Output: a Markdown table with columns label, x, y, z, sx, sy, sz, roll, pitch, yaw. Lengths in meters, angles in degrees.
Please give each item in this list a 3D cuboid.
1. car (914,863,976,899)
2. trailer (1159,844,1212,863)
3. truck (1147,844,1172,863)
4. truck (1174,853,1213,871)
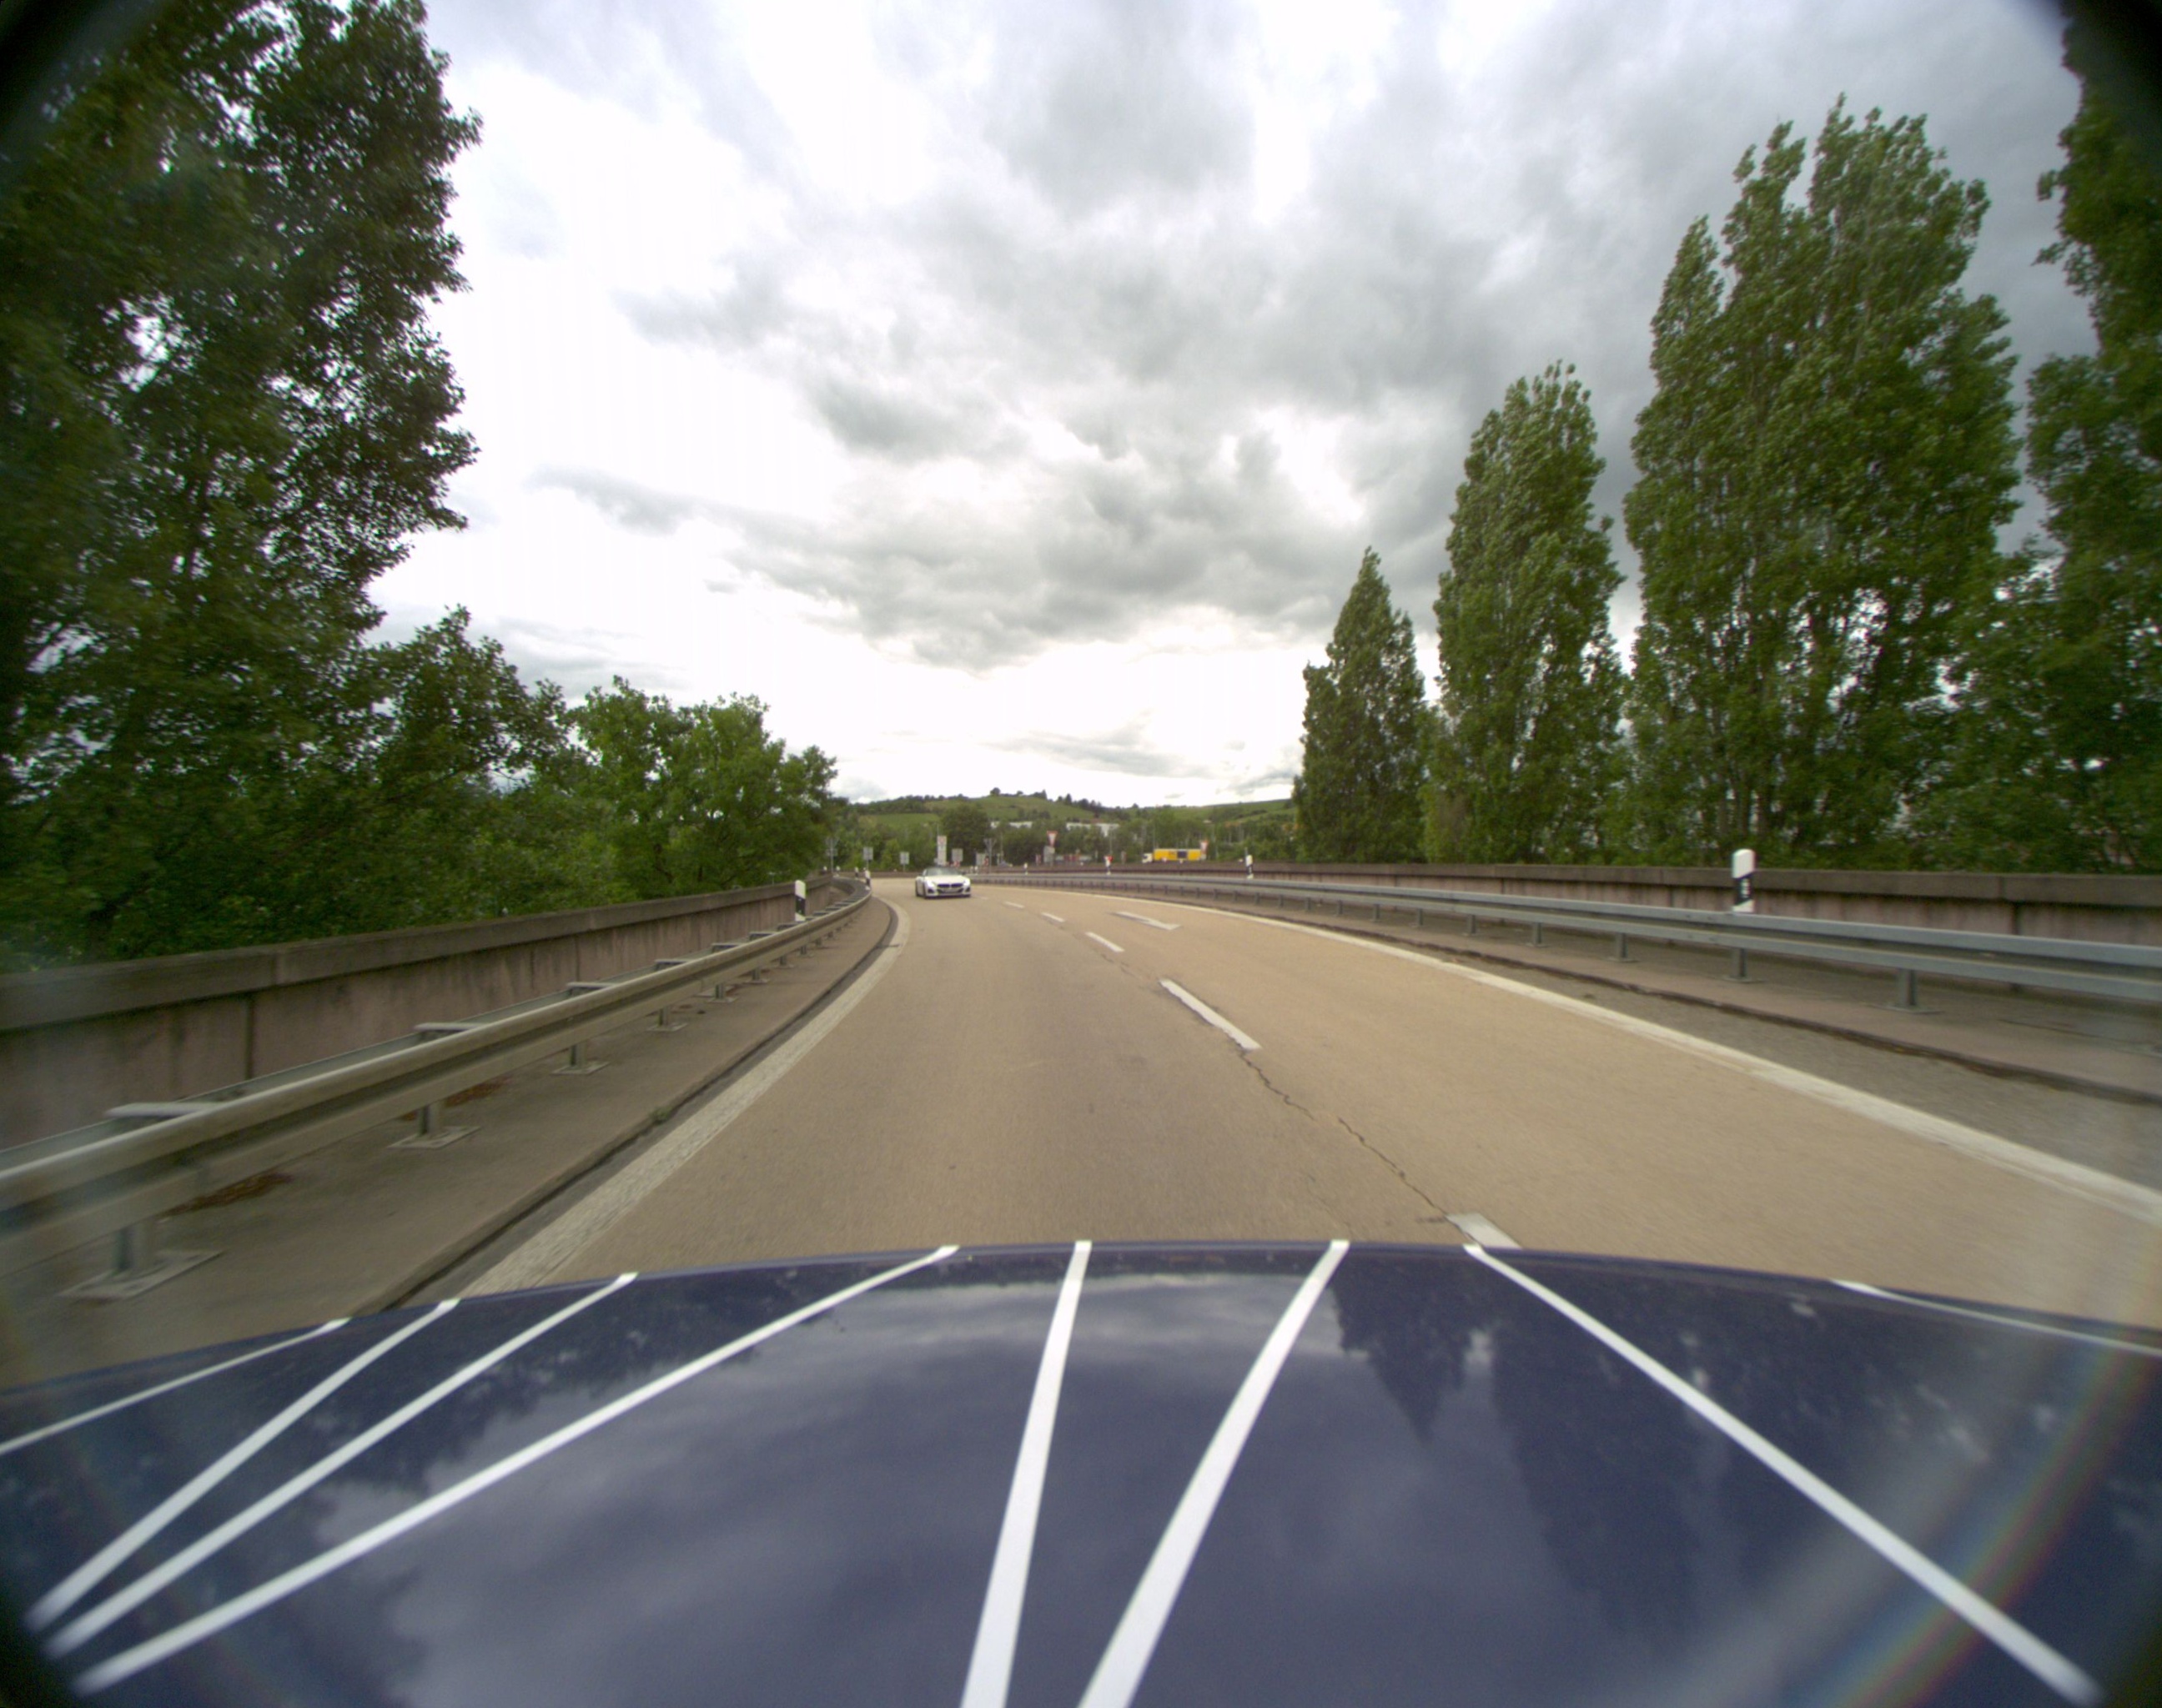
| label | x | y | z | sx | sy | sz | roll | pitch | yaw |
| --- | --- | --- | --- | --- | --- | --- | --- | --- | --- |
| car | -5.827 | 1.085 | 32.099 | 1.865 | 1.337 | 4.817 | -1 | 0 | -18 |
| trailer | 23.523 | -0.156 | 171.500 | 11.625 | 4.181 | 2.639 | 1 | 2 | 27 |
| truck | 17.974 | -0.215 | 174.285 | 5.088 | 4.181 | 2.639 | 1 | 2 | 27 |
| truck | 20.222 | 1.421 | 136.532 | 7.006 | 3.244 | 2.347 | 1 | 0 | -28 |
